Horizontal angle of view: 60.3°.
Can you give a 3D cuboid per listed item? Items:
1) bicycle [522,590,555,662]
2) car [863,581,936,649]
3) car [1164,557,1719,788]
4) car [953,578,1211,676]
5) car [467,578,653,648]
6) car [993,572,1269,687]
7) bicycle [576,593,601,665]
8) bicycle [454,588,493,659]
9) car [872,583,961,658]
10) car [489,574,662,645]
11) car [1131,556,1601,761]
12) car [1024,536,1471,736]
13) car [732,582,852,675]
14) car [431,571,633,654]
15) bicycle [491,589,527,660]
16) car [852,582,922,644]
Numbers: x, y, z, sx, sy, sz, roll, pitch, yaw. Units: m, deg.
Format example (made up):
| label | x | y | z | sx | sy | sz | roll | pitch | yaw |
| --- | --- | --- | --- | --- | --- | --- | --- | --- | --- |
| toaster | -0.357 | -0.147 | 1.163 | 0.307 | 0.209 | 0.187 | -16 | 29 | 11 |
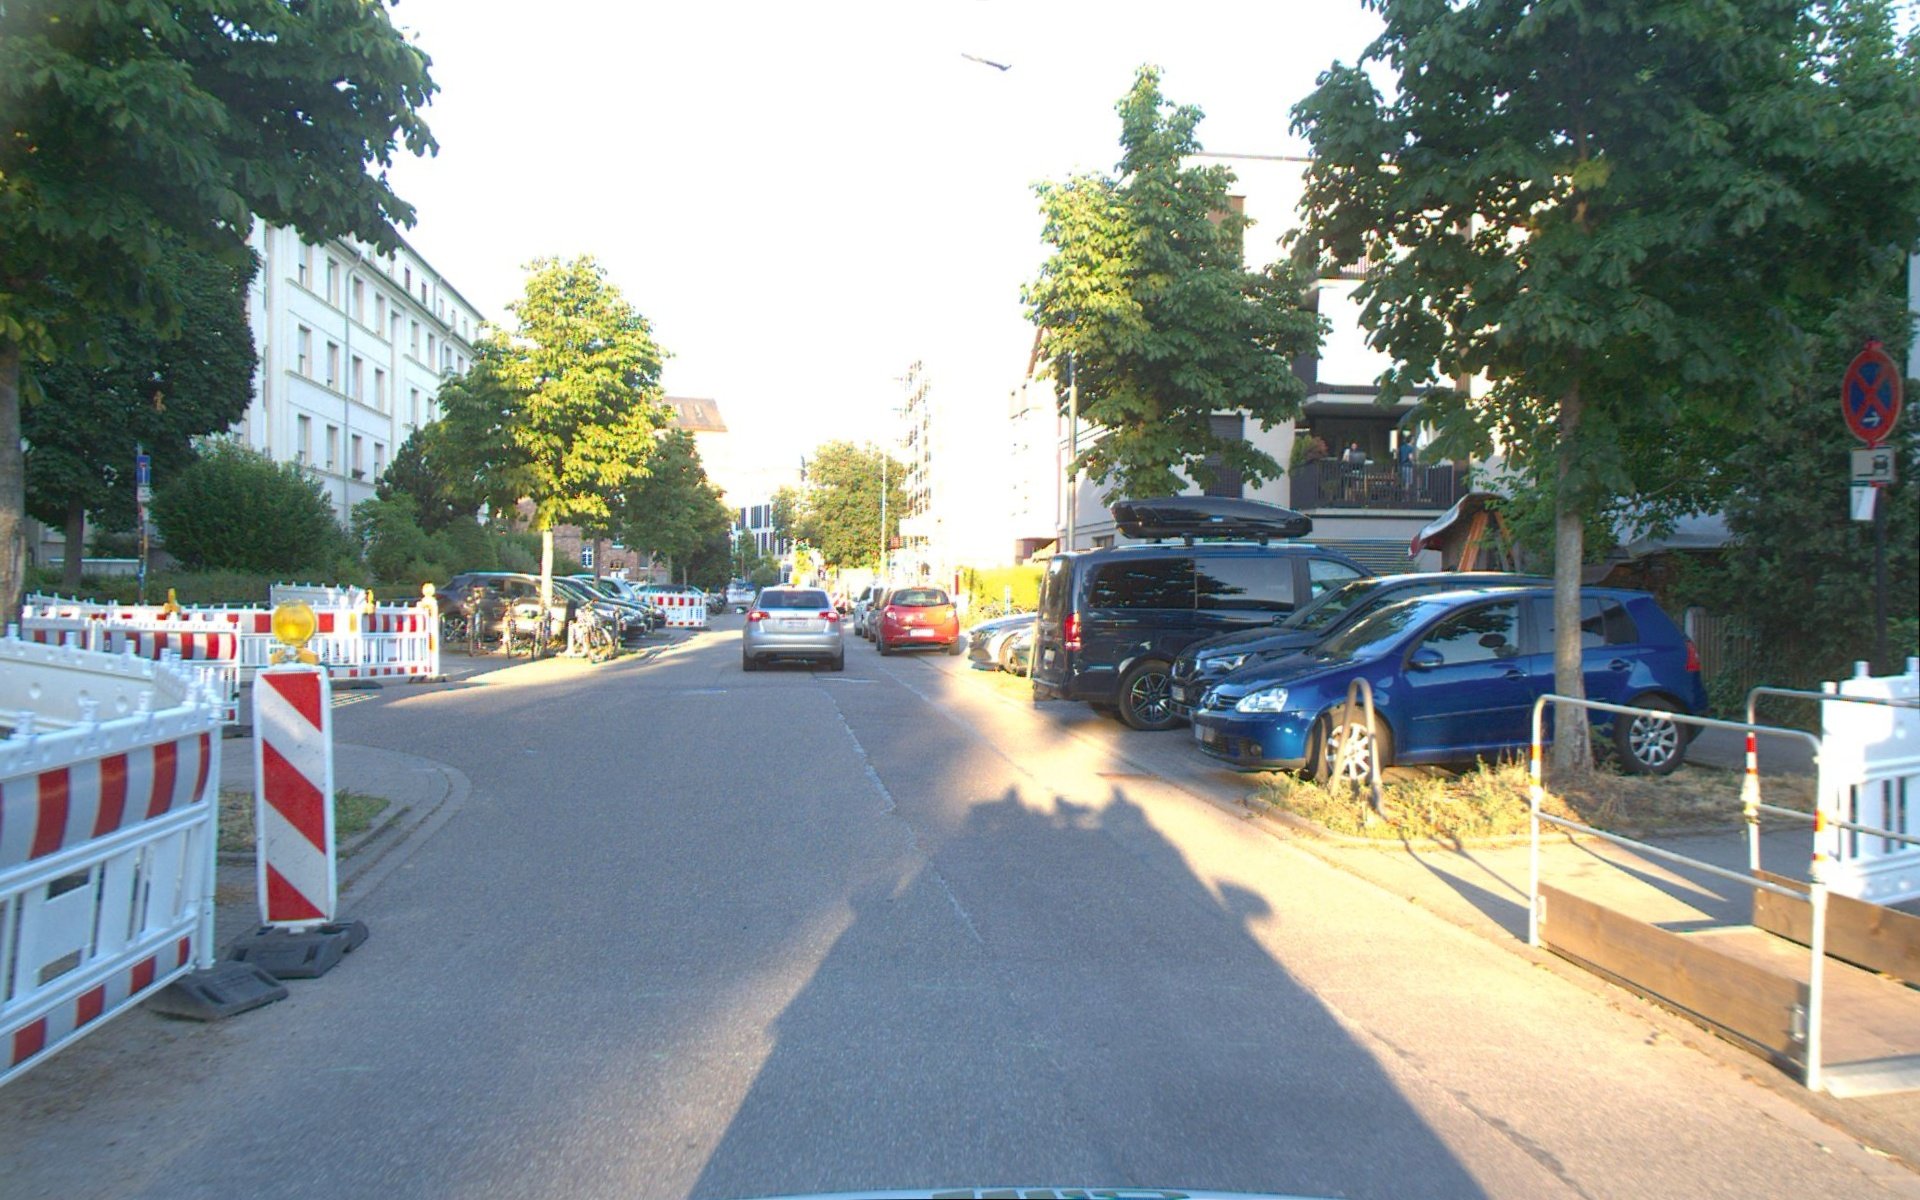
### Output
| label | x | y | z | sx | sy | sz | roll | pitch | yaw |
| --- | --- | --- | --- | --- | --- | --- | --- | --- | --- |
| bicycle | -7.763 | 0.459 | 30.502 | 0.398 | 1.249 | 1.983 | 1 | 1 | -9 |
| car | -1.565 | 0.345 | 41.516 | 1.631 | 1.601 | 3.437 | 1 | 1 | -5 |
| car | 3.795 | 0.548 | 13.301 | 3.916 | 1.680 | 1.760 | 1 | 0 | -12 |
| car | 2.043 | 0.441 | 28.216 | 4.076 | 1.599 | 1.793 | 0 | 1 | -12 |
| car | -9.010 | 0.280 | 37.556 | 3.913 | 1.506 | 1.996 | 1 | 1 | -9 |
| car | 2.627 | 0.442 | 25.813 | 3.869 | 1.677 | 1.971 | 1 | 1 | -12 |
| bicycle | -6.866 | 0.517 | 30.595 | 0.398 | 1.249 | 1.981 | 1 | 1 | -12 |
| bicycle | -8.940 | 0.405 | 30.429 | 0.398 | 1.249 | 1.983 | 1 | 1 | -9 |
| car | -0.993 | 0.414 | 35.981 | 1.696 | 1.509 | 3.554 | 1 | 1 | -5 |
| car | -9.280 | 0.224 | 40.214 | 3.913 | 1.633 | 1.869 | 1 | 1 | -9 |
| car | 3.799 | 0.532 | 15.883 | 3.913 | 1.799 | 1.996 | 1 | 0 | -9 |
| car | 3.107 | 0.352 | 18.392 | 4.473 | 2.058 | 2.097 | 0 | 1 | -9 |
| car | -3.017 | 0.451 | 29.053 | 1.775 | 1.514 | 3.990 | 0 | 0 | -11 |
| car | -8.973 | 0.255 | 35.004 | 3.913 | 1.653 | 1.996 | 1 | 1 | -9 |
| bicycle | -8.297 | 0.436 | 30.460 | 0.398 | 1.249 | 1.983 | 1 | 1 | -9 |
| car | -2.080 | 0.329 | 46.365 | 1.773 | 1.641 | 3.577 | 1 | 1 | -5 |
